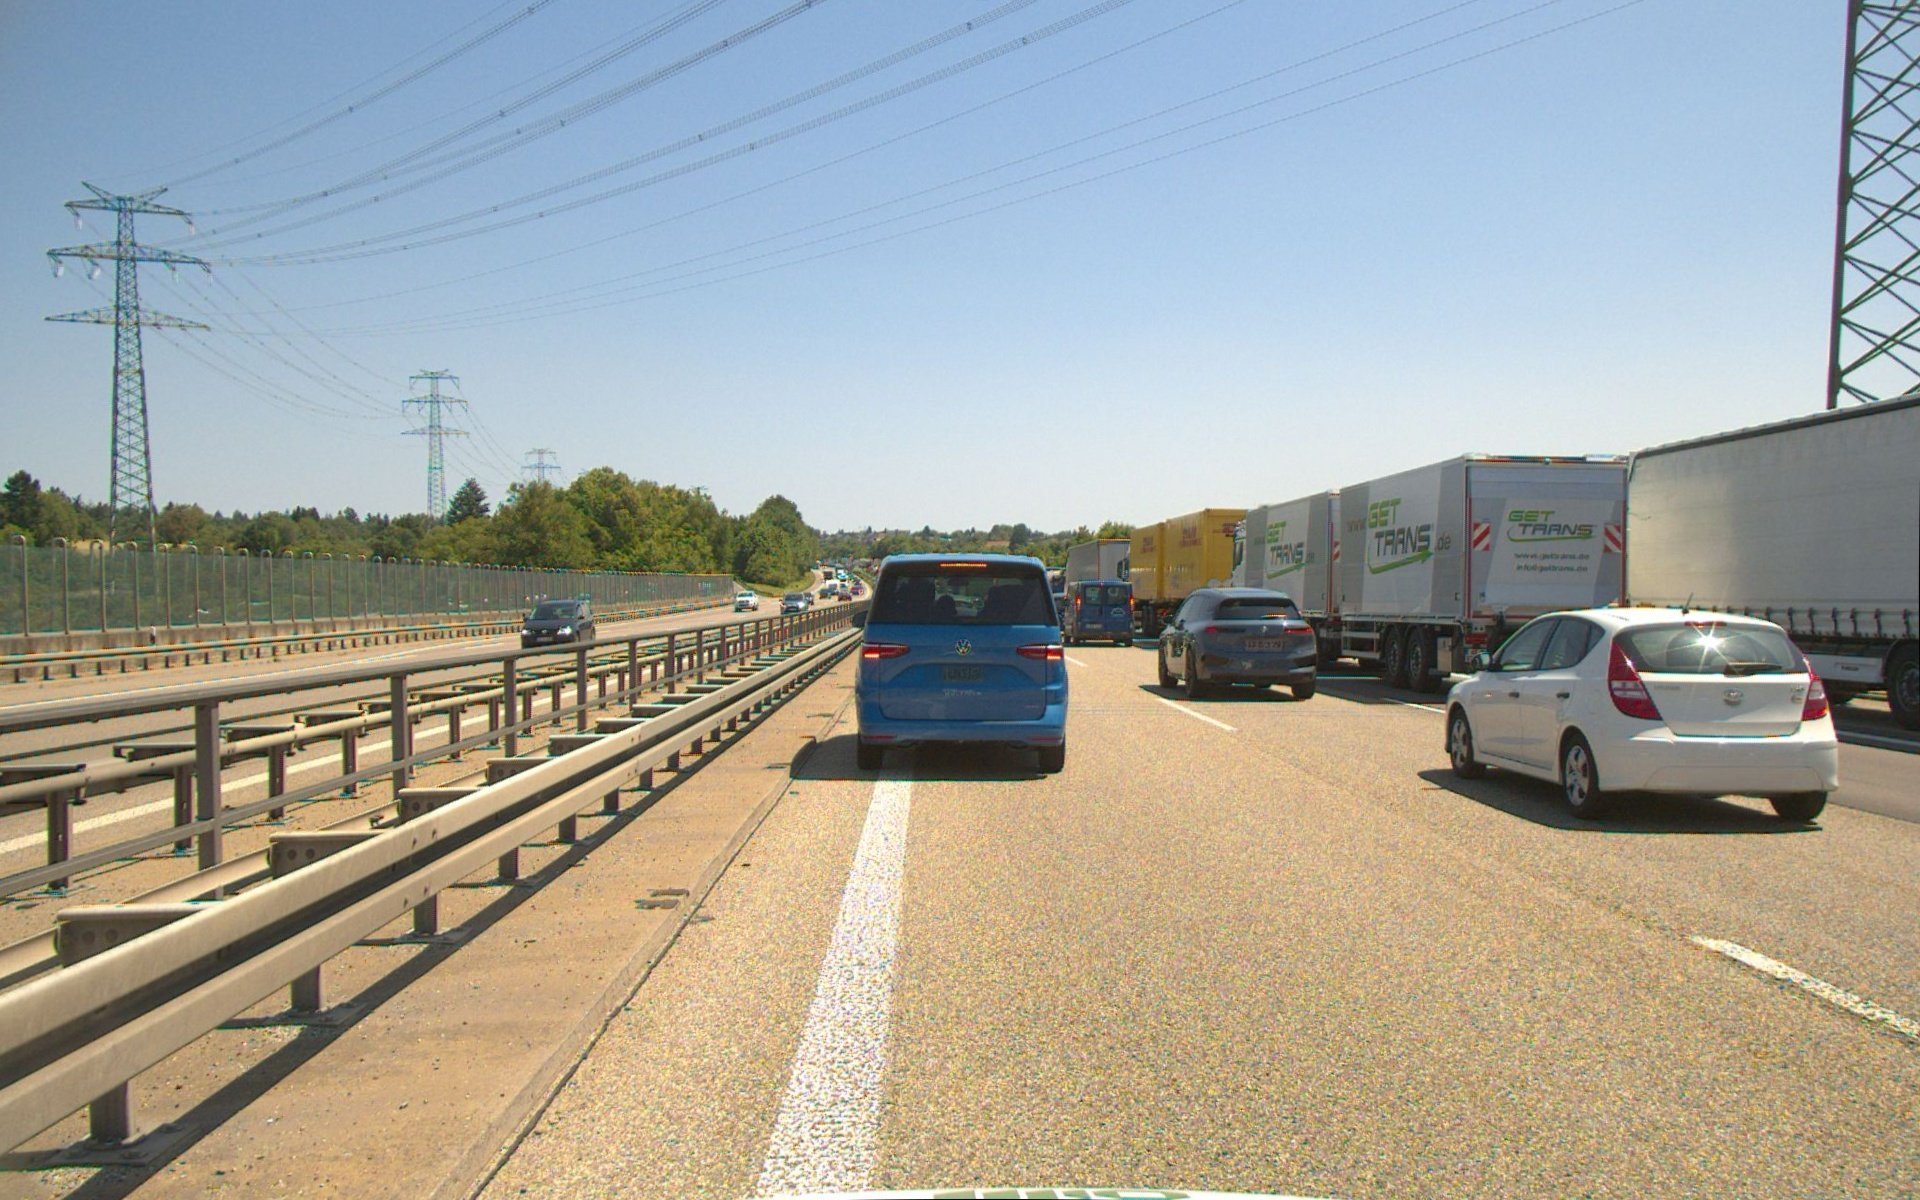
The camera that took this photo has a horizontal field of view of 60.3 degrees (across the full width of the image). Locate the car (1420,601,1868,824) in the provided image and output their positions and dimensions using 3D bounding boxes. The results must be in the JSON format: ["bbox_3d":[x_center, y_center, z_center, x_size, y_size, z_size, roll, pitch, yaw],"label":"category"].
[{"bbox_3d":[5.216,0.759,13.300,1.752,1.481,4.292,0,0,-1],"label":"car"}]

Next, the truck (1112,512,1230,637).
[{"bbox_3d":[7.891,-0.896,63.434,2.779,4.317,11.007,1,0,-2],"label":"truck"}]

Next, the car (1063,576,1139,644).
[{"bbox_3d":[4.345,0.278,51.493,1.922,2.028,4.292,0,0,-1],"label":"car"}]

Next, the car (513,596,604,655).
[{"bbox_3d":[-12.787,0.778,52.864,1.954,1.701,4.184,-2,0,-2],"label":"car"}]

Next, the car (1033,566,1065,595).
[{"bbox_3d":[6.344,-1.391,118.253,1.953,2.049,4.460,-1,0,-1],"label":"car"}]

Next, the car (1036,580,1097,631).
[{"bbox_3d":[3.963,0.197,61.905,1.953,1.847,3.999,0,0,-1],"label":"car"}]

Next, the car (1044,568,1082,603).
[{"bbox_3d":[6.233,-0.888,100.420,1.953,2.049,3.999,1,0,-1],"label":"car"}]

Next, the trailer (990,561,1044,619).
[{"bbox_3d":[3.162,-0.525,94.095,2.517,3.042,10.660,1,0,-1],"label":"trailer"}]

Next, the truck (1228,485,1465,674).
[{"bbox_3d":[8.506,-0.432,38.100,2.603,3.711,11.007,0,0,-2],"label":"truck"}]

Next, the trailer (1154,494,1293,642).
[{"bbox_3d":[8.338,-0.933,53.457,2.806,4.313,9.009,1,0,-1],"label":"trailer"}]

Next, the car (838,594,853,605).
[{"bbox_3d":[-13.867,-0.062,199.757,1.565,1.341,4.340,-2,0,-2],"label":"car"}]

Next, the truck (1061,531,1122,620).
[{"bbox_3d":[7.049,-1.265,89.505,2.613,4.562,6.848,1,0,-1],"label":"truck"}]

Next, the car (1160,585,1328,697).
[{"bbox_3d":[4.520,0.608,26.975,1.922,1.673,4.292,0,0,-1],"label":"car"}]

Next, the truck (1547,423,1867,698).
[{"bbox_3d":[12.655,-0.599,28.670,2.638,4.214,6.157,1,0,-1],"label":"truck"}]

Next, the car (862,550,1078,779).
[{"bbox_3d":[0.047,0.538,15.852,1.783,1.890,4.074,1,0,-1],"label":"car"}]

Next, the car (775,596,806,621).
[{"bbox_3d":[-11.869,0.595,115.948,1.769,1.655,4.476,-2,0,-2],"label":"car"}]

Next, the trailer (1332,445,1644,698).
[{"bbox_3d":[8.762,-0.446,28.603,2.643,3.765,8.012,0,0,-2],"label":"trailer"}]

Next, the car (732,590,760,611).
[{"bbox_3d":[-19.771,0.044,152.962,1.953,1.918,5.254,-1,0,-2],"label":"car"}]

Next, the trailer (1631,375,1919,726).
[{"bbox_3d":[12.815,-0.580,21.231,2.660,4.214,13.421,1,0,-1],"label":"trailer"}]

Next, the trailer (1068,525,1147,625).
[{"bbox_3d":[7.221,-1.197,82.417,2.583,4.595,11.298,1,0,-1],"label":"trailer"}]
